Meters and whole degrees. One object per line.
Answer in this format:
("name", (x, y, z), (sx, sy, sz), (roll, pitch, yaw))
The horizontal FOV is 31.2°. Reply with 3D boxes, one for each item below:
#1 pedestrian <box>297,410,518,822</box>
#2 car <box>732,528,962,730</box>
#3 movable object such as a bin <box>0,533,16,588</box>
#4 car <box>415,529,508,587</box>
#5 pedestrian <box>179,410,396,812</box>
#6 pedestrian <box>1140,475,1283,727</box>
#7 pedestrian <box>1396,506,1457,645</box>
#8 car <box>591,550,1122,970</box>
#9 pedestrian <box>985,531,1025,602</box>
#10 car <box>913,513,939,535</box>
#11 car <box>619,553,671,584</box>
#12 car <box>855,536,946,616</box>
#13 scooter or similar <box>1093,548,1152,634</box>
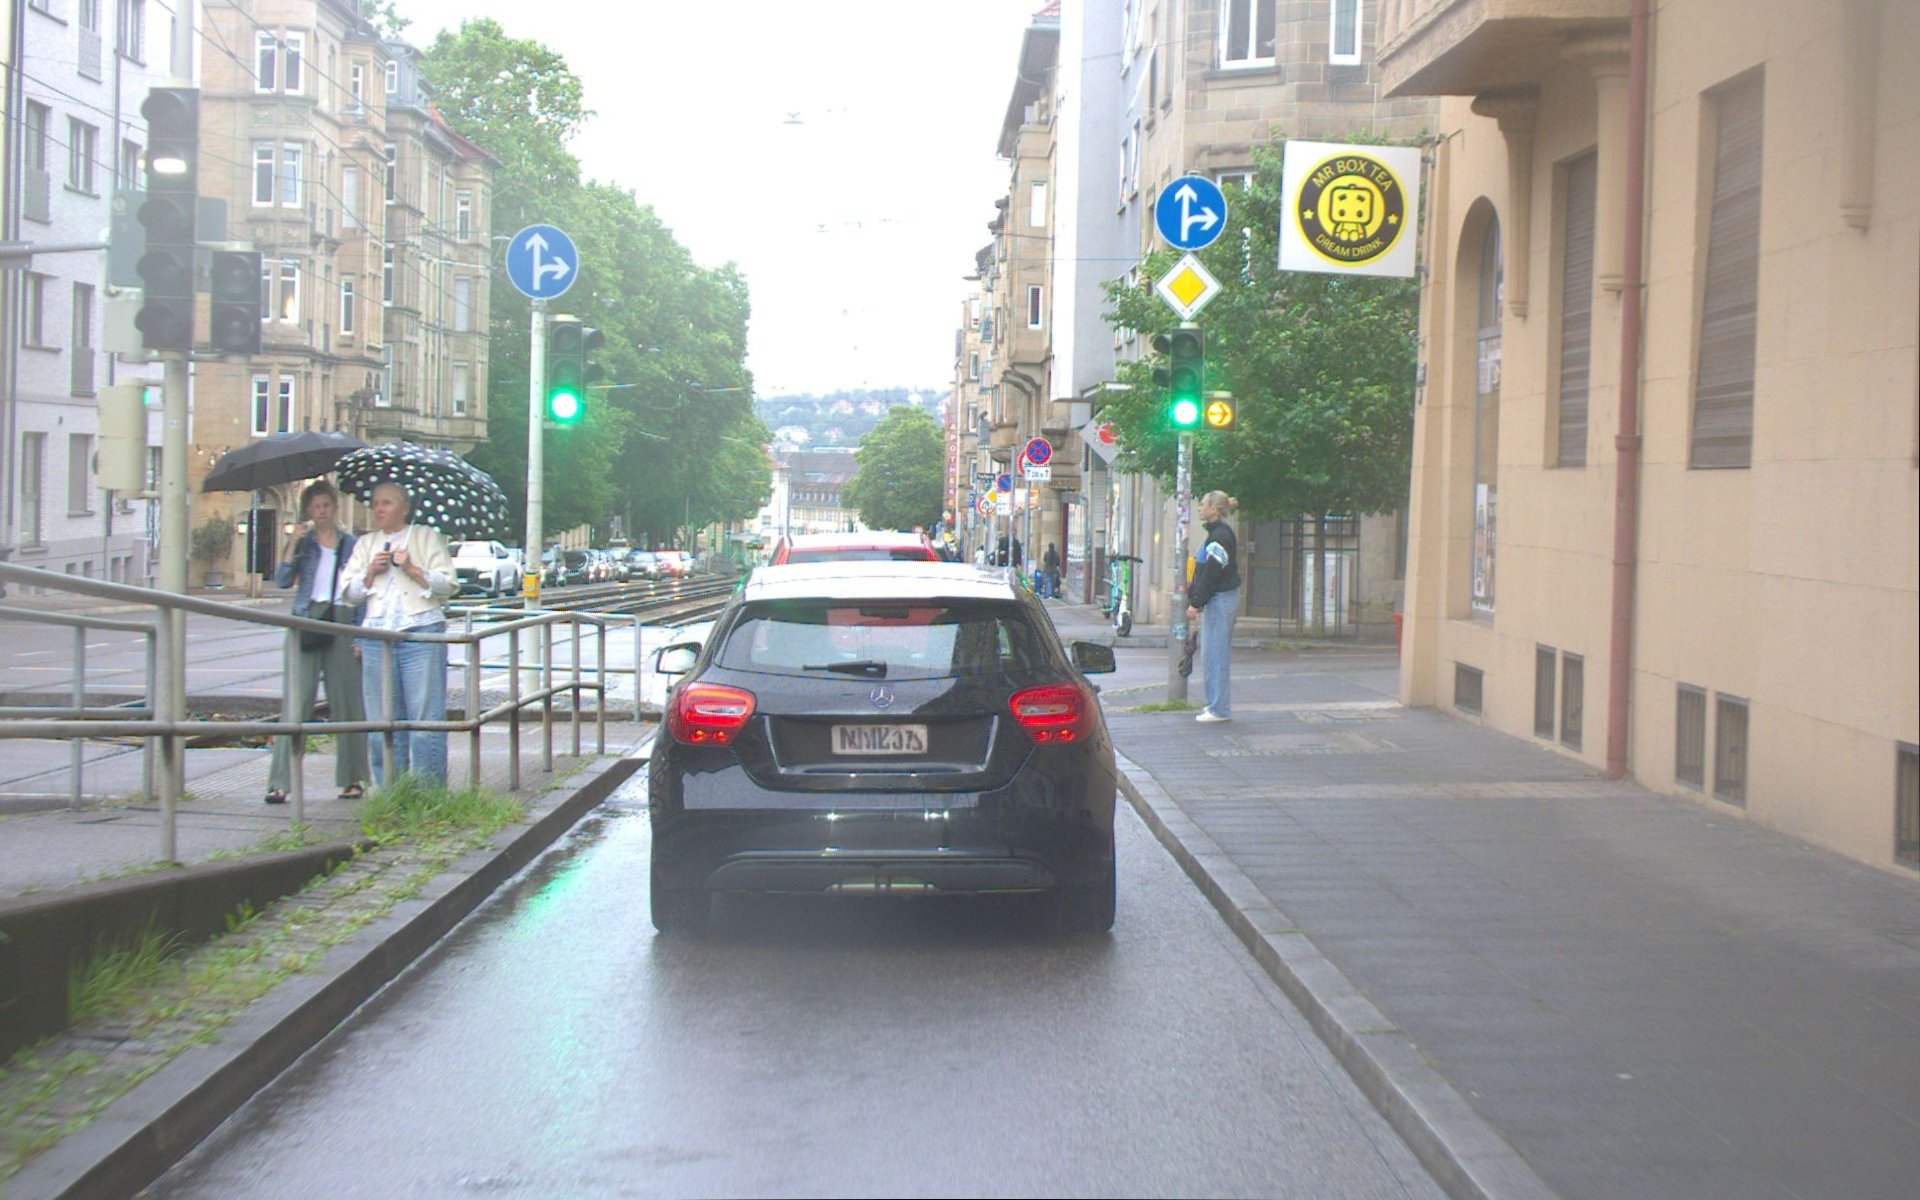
("pedestrian", (-2.786, 0.074, 17.429), (0.926, 2.007, 0.947), (2, 1, -1))
("car", (-0.834, 0.177, 27.149), (1.649, 1.447, 4.000), (1, 1, 0))
("movable object such as a bin", (-19.412, -0.809, 68.955), (0.713, 1.070, 0.687), (4, 1, -1))
("car", (-14.417, -1.188, 99.636), (1.993, 1.622, 5.253), (0, 0, -1))
("pedestrian", (-3.464, 0.049, 17.789), (0.897, 2.007, 0.947), (2, 1, -1))
("pedestrian", (1.892, 0.003, 25.988), (0.965, 1.834, 0.902), (-3, 1, 2))
("pedestrian", (6.064, -0.322, 44.708), (0.594, 1.782, 0.891), (-1, 1, -4))
("car", (-0.338, 0.543, 14.276), (1.866, 1.447, 4.000), (1, 1, 1))
("pedestrian", (1.131, -0.854, 87.115), (0.945, 1.763, 1.015), (0, 1, -3))
("car", (-2.222, -4.869, 221.469), (1.613, 1.313, 4.000), (2, 1, -1))
("car", (-14.360, -1.444, 156.902), (1.948, 1.392, 4.274), (-1, 1, 0))
("car", (-1.196, -0.497, 69.622), (1.765, 1.553, 4.746), (0, 1, -1))
("scooter or similar", (2.320, -0.142, 49.326), (0.638, 1.206, 1.553), (0, 1, -5))
